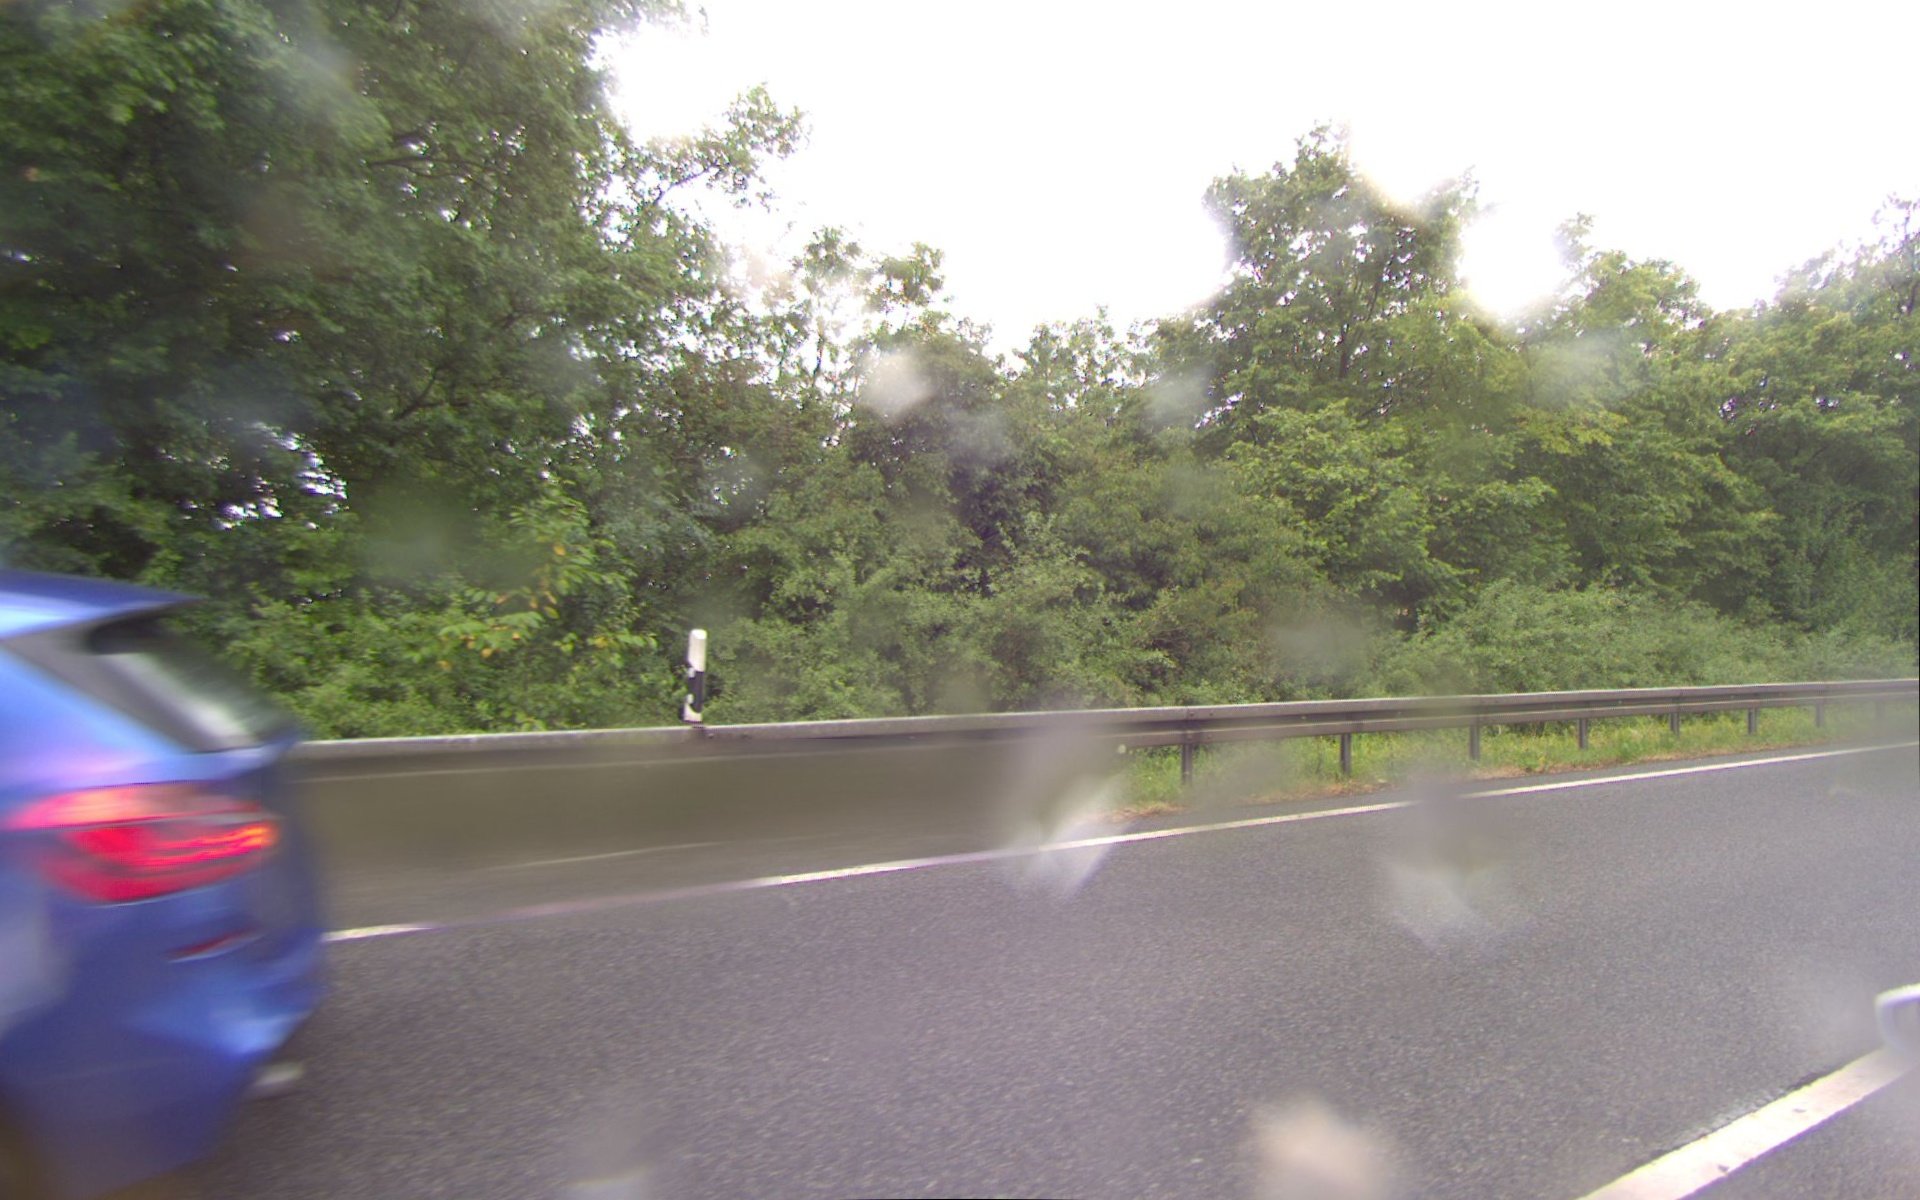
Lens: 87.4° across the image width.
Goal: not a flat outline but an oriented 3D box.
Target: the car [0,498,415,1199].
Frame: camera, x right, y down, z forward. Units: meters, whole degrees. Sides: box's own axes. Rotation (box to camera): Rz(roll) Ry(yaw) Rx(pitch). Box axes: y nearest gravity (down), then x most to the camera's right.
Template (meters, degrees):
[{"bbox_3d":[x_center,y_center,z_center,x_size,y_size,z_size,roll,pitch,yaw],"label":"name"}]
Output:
[{"bbox_3d":[-3.276,0.532,1.886,3.869,1.536,1.698,2,0,-31],"label":"car"}]
